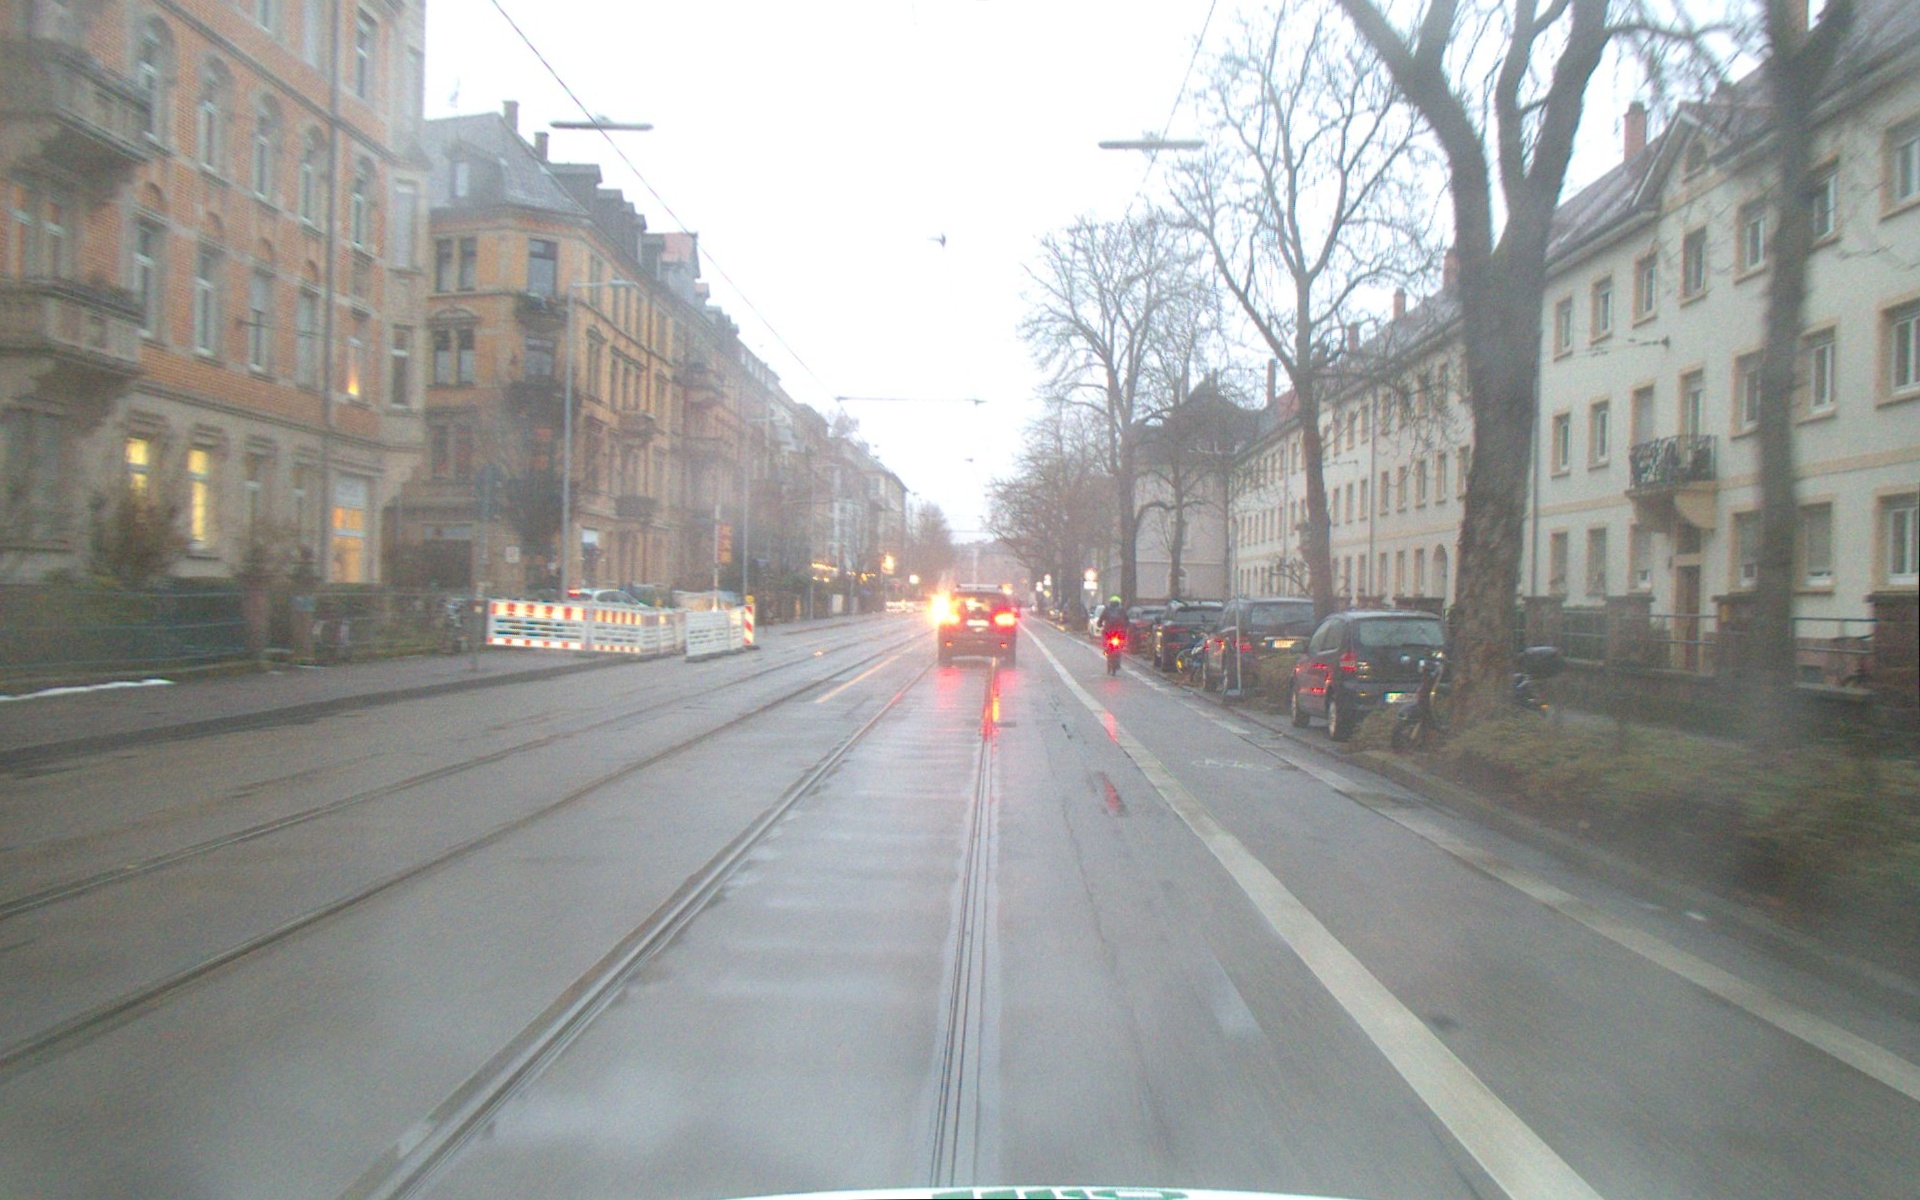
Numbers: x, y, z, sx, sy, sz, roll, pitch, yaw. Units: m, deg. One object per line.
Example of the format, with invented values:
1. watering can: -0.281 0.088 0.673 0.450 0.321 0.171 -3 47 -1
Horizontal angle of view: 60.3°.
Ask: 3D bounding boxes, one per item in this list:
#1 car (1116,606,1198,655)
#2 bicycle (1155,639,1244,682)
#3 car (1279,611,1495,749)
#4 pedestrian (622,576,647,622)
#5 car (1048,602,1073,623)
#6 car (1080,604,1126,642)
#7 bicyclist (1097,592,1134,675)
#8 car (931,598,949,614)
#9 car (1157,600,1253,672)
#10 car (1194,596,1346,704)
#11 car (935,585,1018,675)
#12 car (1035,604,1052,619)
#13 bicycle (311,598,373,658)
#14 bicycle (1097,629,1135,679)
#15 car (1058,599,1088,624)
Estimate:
1. car: 6.104 0.917 51.689 1.841 1.444 4.341 0 0 -3
2. bicycle: 5.396 1.356 37.206 1.970 0.932 0.465 0 0 10
3. car: 5.310 0.934 21.059 1.748 1.536 3.988 1 0 1
4. pedestrian: -12.879 -0.026 65.468 0.711 1.804 0.762 1 0 -32
5. car: 7.630 0.909 125.687 1.748 1.536 4.109 1 0 1
6. car: 6.019 0.952 70.011 1.748 1.536 4.110 1 0 3
7. bicyclist: 3.410 0.724 36.265 0.715 1.767 0.766 1 0 2
8. car: -2.316 0.634 188.302 1.884 1.750 4.001 1 0 1
9. car: 5.970 0.844 40.740 1.866 1.638 4.562 1 0 3
10. car: 5.481 0.828 29.855 1.866 1.758 4.903 1 0 1
11. car: 0.420 0.678 39.361 1.765 1.903 4.018 4 0 1
12. car: 9.324 1.273 184.717 1.748 1.536 4.109 1 0 1
13. bicycle: -10.210 0.453 27.367 0.258 0.931 1.686 7 0 1
14. bicycle: 3.404 1.178 36.256 0.716 1.024 1.764 2 0 2
15. car: 7.325 0.719 107.661 1.748 1.536 4.109 1 0 1
